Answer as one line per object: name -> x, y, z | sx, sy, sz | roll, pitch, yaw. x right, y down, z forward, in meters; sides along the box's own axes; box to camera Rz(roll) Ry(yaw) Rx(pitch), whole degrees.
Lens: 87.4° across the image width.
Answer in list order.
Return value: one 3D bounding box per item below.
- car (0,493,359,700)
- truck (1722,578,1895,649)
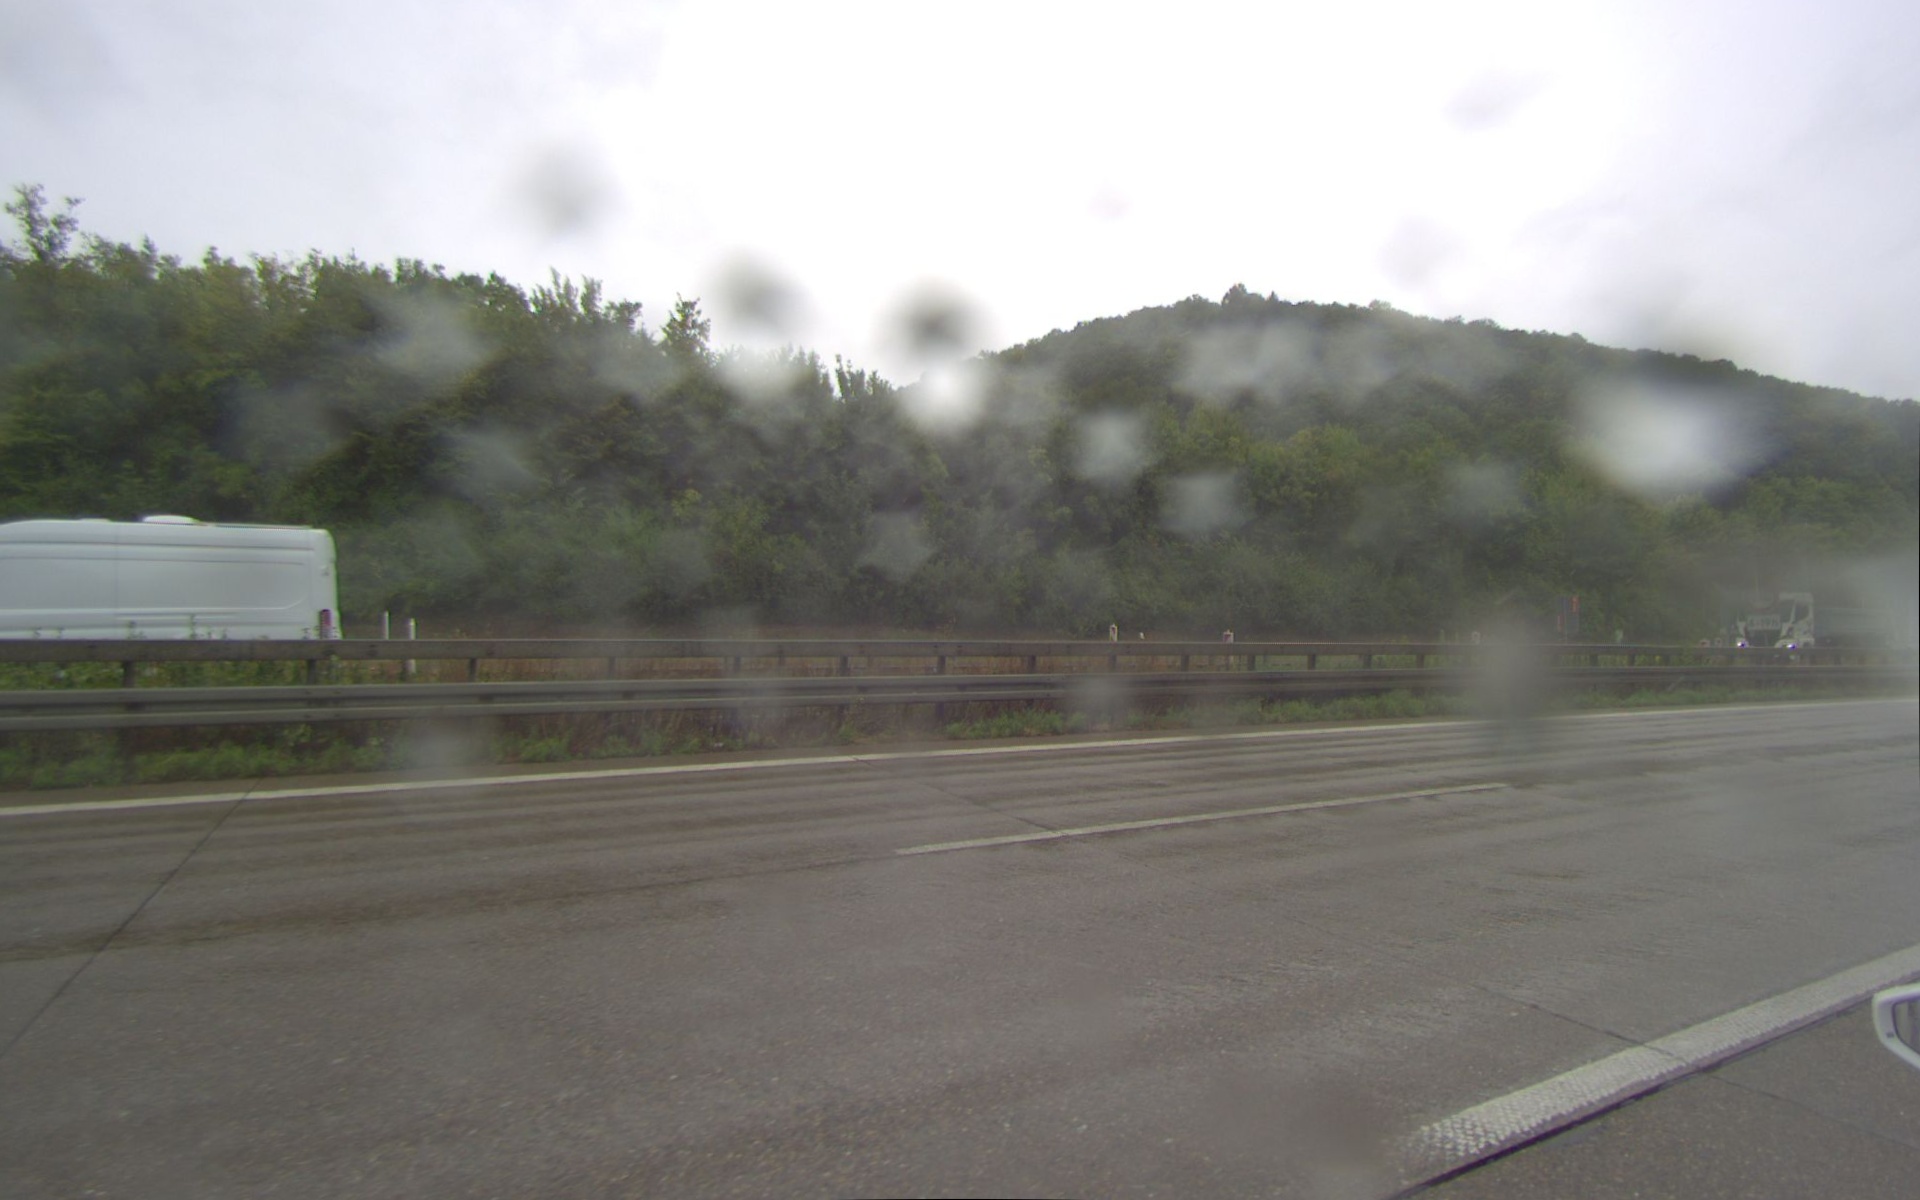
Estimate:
car -> -13.233, -0.041, 15.710 | 6.457, 2.939, 2.078 | 1, 0, -30
truck -> 43.575, 0.757, 51.411 | 11.372, 3.360, 2.762 | 1, 0, -28
